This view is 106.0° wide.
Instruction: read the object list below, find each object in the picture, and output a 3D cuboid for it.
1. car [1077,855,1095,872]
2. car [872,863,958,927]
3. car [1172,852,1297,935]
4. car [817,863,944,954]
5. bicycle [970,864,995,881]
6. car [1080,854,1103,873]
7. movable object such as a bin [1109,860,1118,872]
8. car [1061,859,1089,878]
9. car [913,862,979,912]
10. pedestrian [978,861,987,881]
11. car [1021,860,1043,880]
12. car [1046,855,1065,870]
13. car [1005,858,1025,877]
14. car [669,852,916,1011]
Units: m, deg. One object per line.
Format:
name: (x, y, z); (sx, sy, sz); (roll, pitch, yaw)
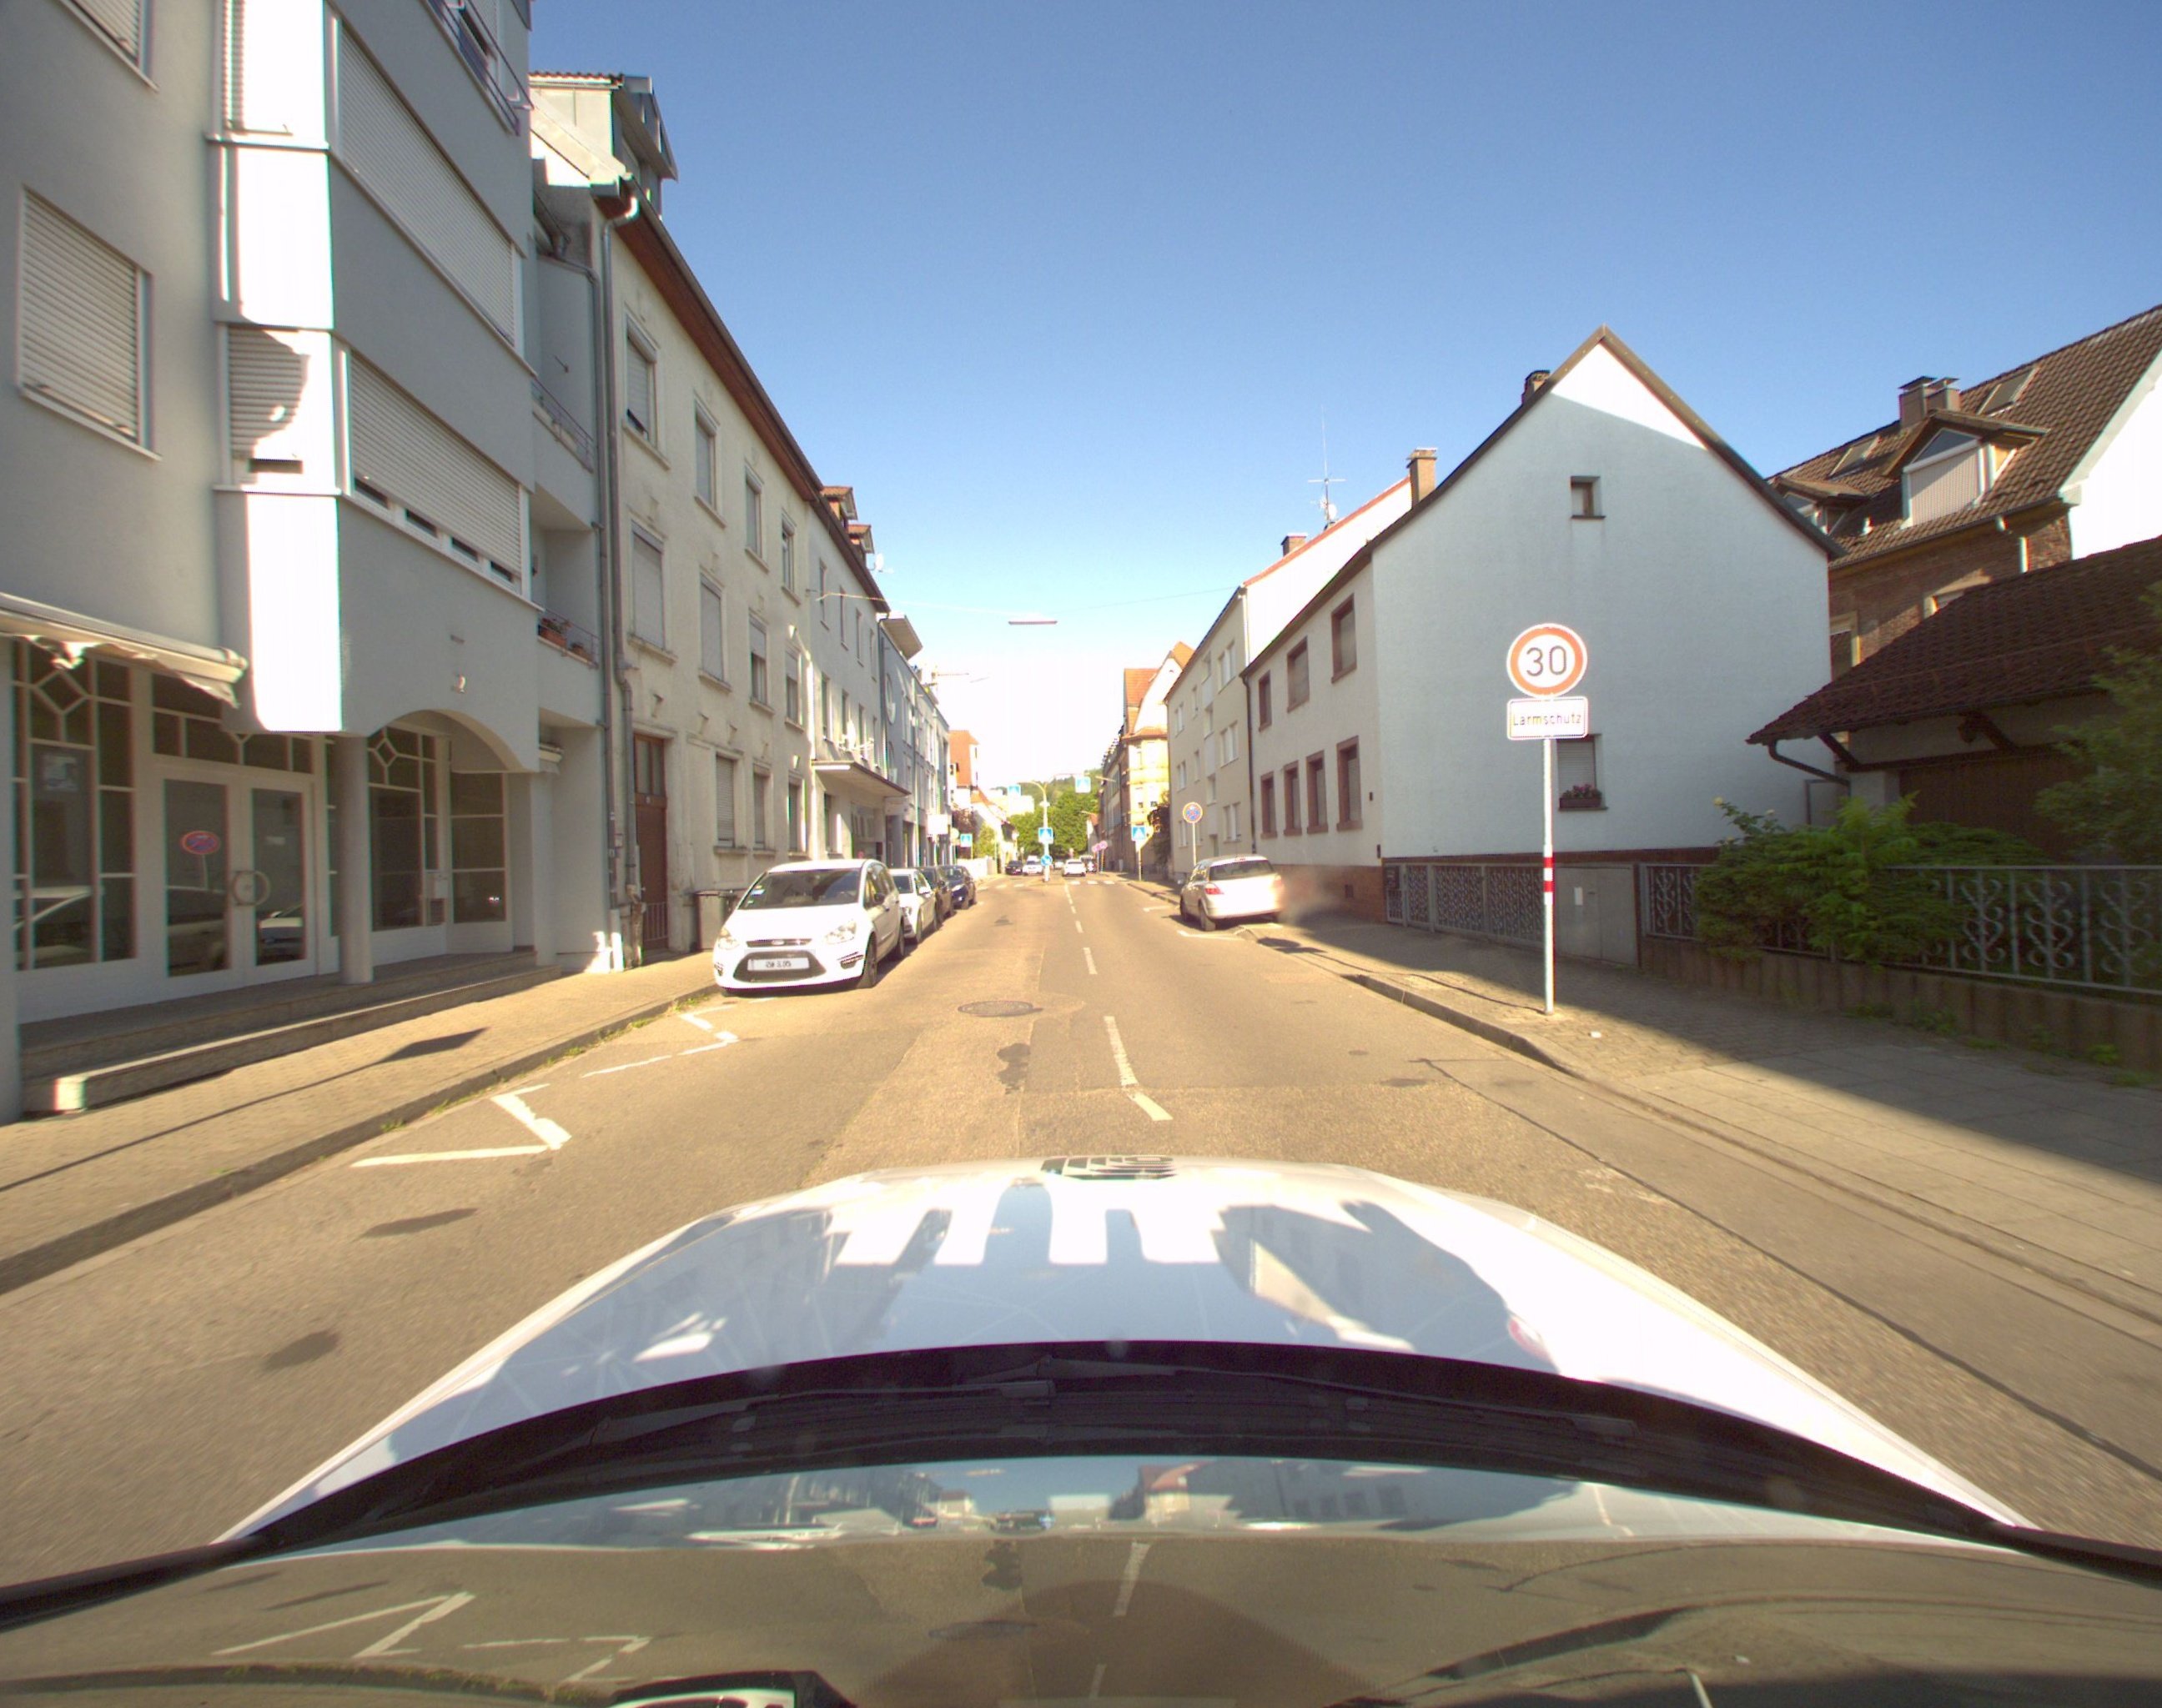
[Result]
car: (0.568, 1.082, 98.875); (1.837, 1.905, 3.996); (-3, 0, -3)
car: (-4.415, 1.037, 22.157); (1.656, 1.526, 3.805); (-2, 0, -3)
car: (3.206, 0.775, 17.930); (1.736, 1.492, 4.436); (-4, 0, -1)
car: (-4.027, 1.015, 17.016); (1.761, 1.495, 4.120); (-4, 0, -4)
bicycle: (-7.517, 1.424, 62.063); (1.782, 1.184, 0.598); (-3, 0, -2)
car: (1.024, 0.951, 82.532); (2.007, 1.853, 3.995); (-1, 0, -3)
movable object such as a bin: (3.705, 1.358, 93.473); (0.870, 1.377, 0.684); (-4, 1, -5)
car: (-0.541, 1.184, 67.111); (1.990, 1.466, 3.993); (-2, 0, -5)
car: (-4.547, 1.082, 27.857); (1.727, 1.499, 3.954); (-3, -1, -3)
pedestrian: (-7.538, 1.279, 62.400); (0.556, 1.472, 0.600); (-3, 0, -6)
car: (-4.713, 1.503, 78.032); (1.805, 1.701, 4.183); (-4, 0, -6)
car: (-3.588, 1.257, 116.056); (1.995, 2.013, 3.984); (-3, 0, -11)
car: (-7.037, 1.430, 87.581); (1.990, 2.013, 3.994); (-2, 0, -4)
car: (-3.646, 0.845, 11.449); (1.990, 1.648, 5.212); (-2, 0, -5)
